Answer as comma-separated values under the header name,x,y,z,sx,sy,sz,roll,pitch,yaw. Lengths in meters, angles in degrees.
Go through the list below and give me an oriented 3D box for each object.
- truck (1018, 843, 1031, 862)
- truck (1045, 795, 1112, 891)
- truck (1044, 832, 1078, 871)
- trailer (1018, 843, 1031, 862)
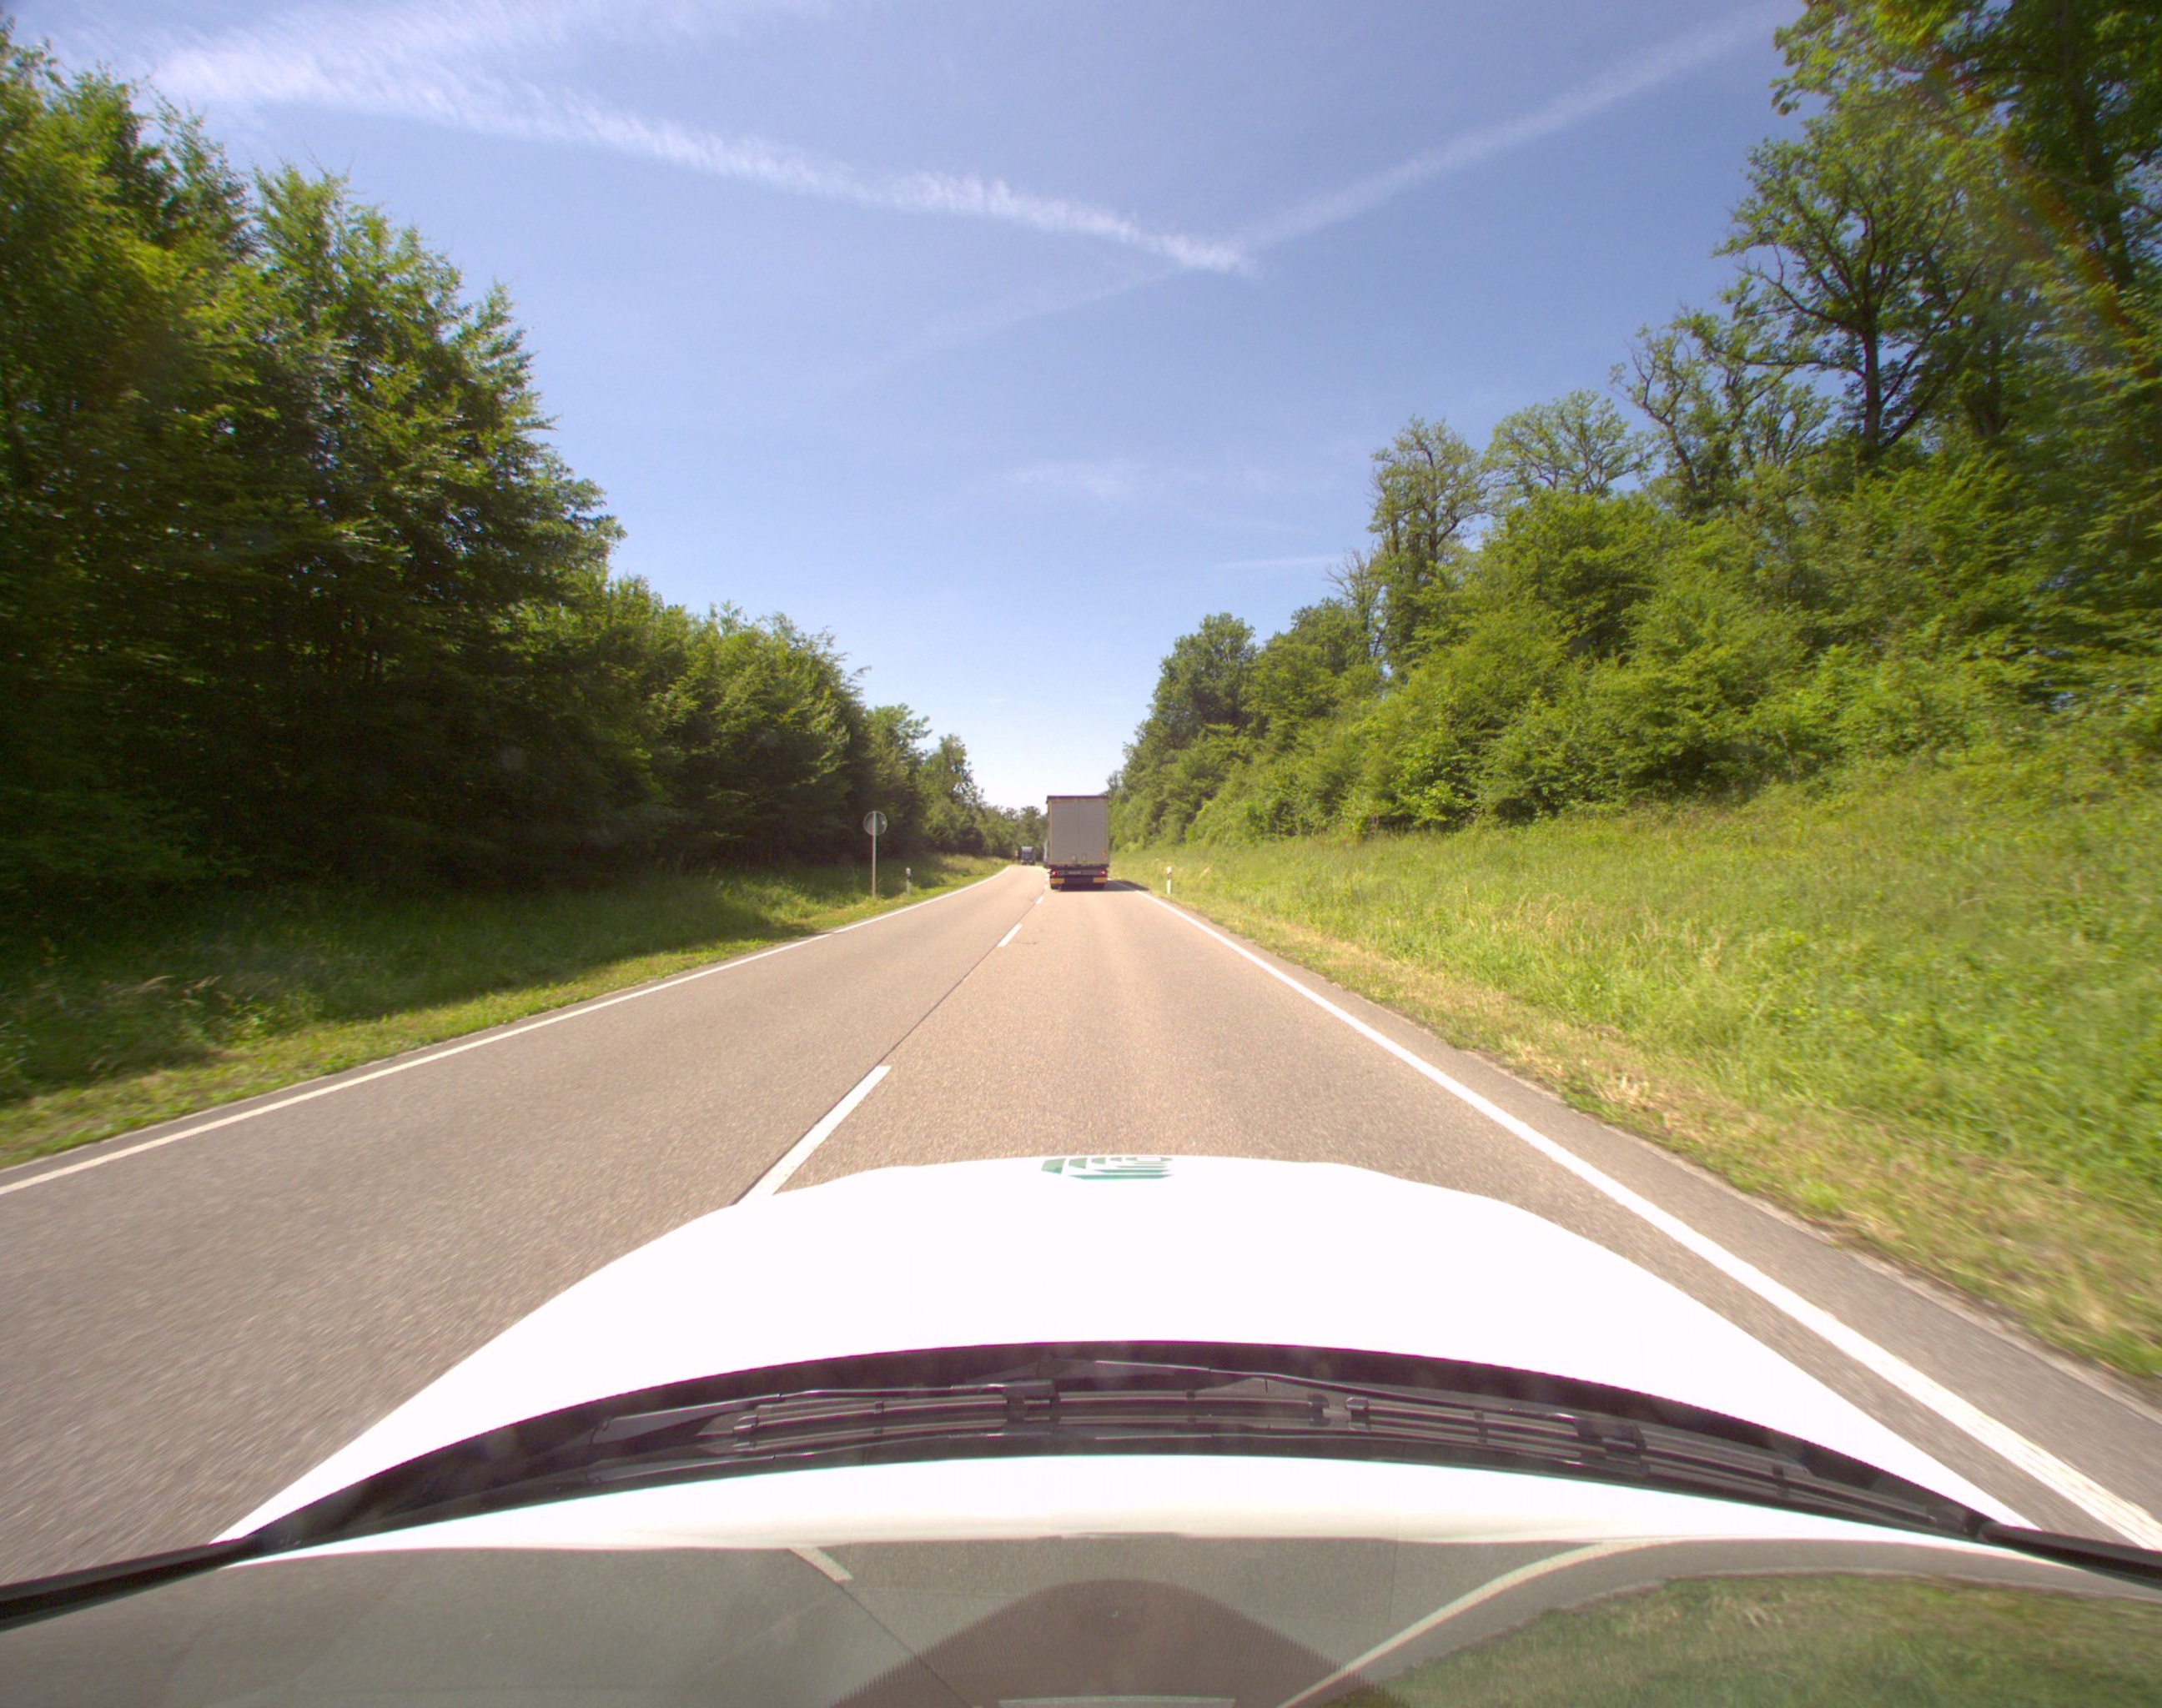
name,x,y,z,sx,sy,sz,roll,pitch,yaw
truck,-13.200,-0.304,189.200,2.917,4.216,5.335,-2,0,-4
truck,-0.175,-0.447,39.625,2.753,3.947,12.192,0,0,-1
truck,-2.504,-0.179,99.636,3.784,4.373,14.905,1,-1,-2
trailer,-13.689,-0.308,196.081,2.936,4.252,13.599,-2,0,-4
